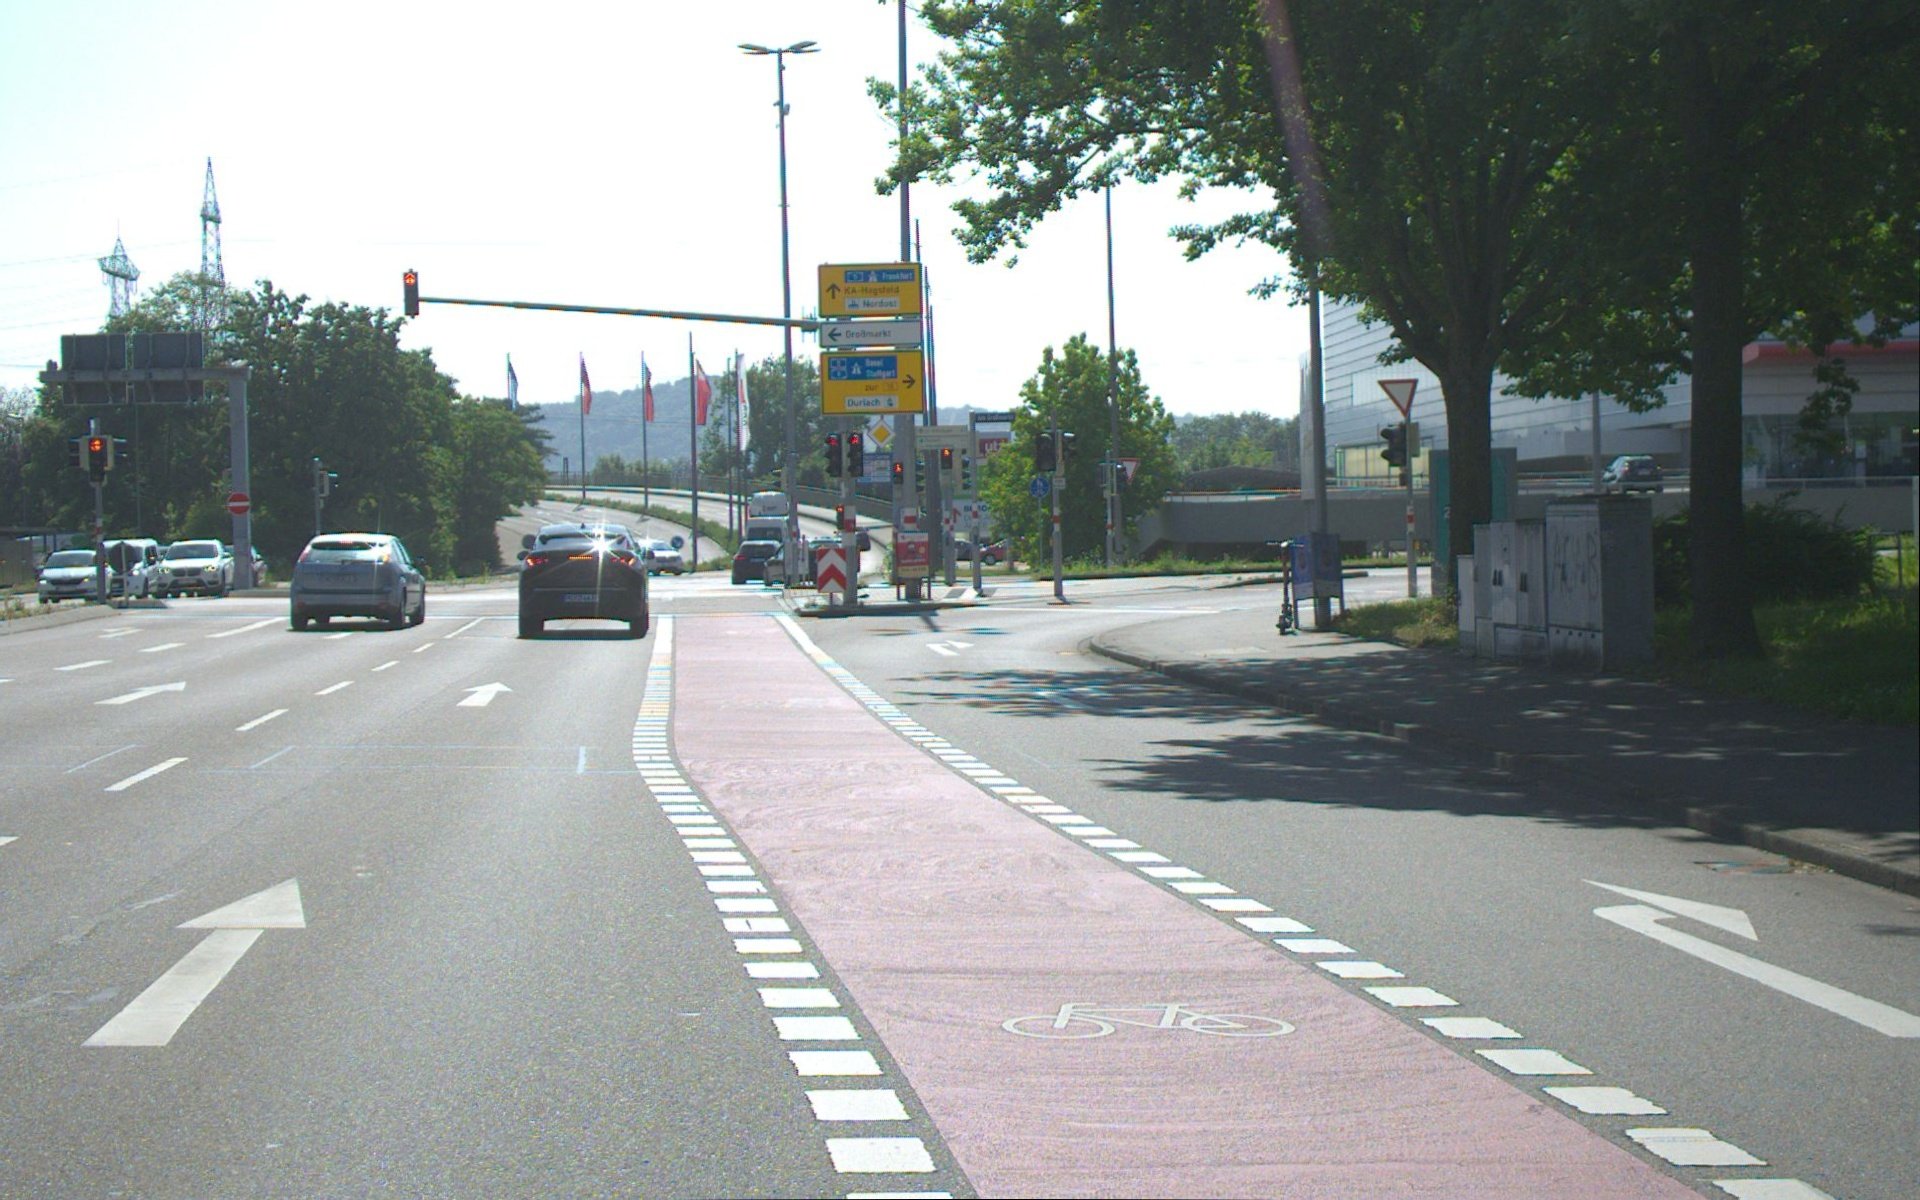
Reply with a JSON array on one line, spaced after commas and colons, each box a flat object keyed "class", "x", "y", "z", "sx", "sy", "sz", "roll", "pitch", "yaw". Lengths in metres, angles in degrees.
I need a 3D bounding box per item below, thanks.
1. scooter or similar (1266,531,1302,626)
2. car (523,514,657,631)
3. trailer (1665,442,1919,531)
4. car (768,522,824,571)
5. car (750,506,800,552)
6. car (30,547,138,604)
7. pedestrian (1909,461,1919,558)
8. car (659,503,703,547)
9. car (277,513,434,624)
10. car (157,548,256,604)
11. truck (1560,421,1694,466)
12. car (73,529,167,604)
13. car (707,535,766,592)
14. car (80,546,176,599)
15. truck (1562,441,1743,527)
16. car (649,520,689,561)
[{"class": "scooter or similar", "x": 4.332, "y": -0.295, "z": 45.875, "sx": 0.351, "sy": 1.229, "sz": 1.311, "roll": -2, "pitch": 1, "yaw": 9}, {"class": "car", "x": -5.505, "y": -0.452, "z": 51.586, "sx": 1.807, "sy": 1.634, "sz": 4.460, "roll": -2, "pitch": 1, "yaw": -4}, {"class": "trailer", "x": 26.891, "y": -3.297, "z": 101.020, "sx": 11.871, "sy": 2.460, "sz": 2.000, "roll": 1, "pitch": 2, "yaw": 1}, {"class": "car", "x": -5.035, "y": -1.661, "z": 105.828, "sx": 1.688, "sy": 1.354, "sz": 4.001, "roll": 1, "pitch": 2, "yaw": -2}, {"class": "car", "x": -8.573, "y": -3.289, "z": 159.463, "sx": 1.993, "sy": 2.006, "sz": 4.000, "roll": 1, "pitch": 2, "yaw": 1}, {"class": "car", "x": -24.100, "y": -0.691, "z": 94.739, "sx": 1.892, "sy": 1.459, "sz": 4.000, "roll": -2, "pitch": 1, "yaw": 0}, {"class": "pedestrian", "x": 17.659, "y": -1.644, "z": 62.092, "sx": 0.627, "sy": 1.764, "sz": 0.805, "roll": -2, "pitch": 1, "yaw": -14}, {"class": "car", "x": -13.372, "y": -3.612, "z": 164.718, "sx": 1.993, "sy": 2.006, "sz": 3.982, "roll": 1, "pitch": 2, "yaw": -4}, {"class": "car", "x": -9.646, "y": -0.530, "z": 55.130, "sx": 1.993, "sy": 1.678, "sz": 4.001, "roll": -1, "pitch": 1, "yaw": -3}, {"class": "car", "x": -21.016, "y": -0.696, "z": 96.051, "sx": 1.815, "sy": 1.459, "sz": 4.000, "roll": -2, "pitch": 1, "yaw": 0}, {"class": "truck", "x": 31.673, "y": -7.451, "z": 163.371, "sx": 5.909, "sy": 2.006, "sz": 2.000, "roll": 1, "pitch": 2, "yaw": -2}, {"class": "car", "x": -15.965, "y": -0.650, "z": 65.433, "sx": 1.215, "sy": 1.326, "sz": 2.800, "roll": 1, "pitch": 2, "yaw": -3}, {"class": "car", "x": -7.490, "y": -1.226, "z": 115.128, "sx": 1.757, "sy": 1.752, "sz": 3.604, "roll": 1, "pitch": 2, "yaw": -7}, {"class": "car", "x": -24.673, "y": -0.830, "z": 102.075, "sx": 1.815, "sy": 1.459, "sz": 4.000, "roll": -2, "pitch": 1, "yaw": 0}, {"class": "truck", "x": 20.352, "y": -3.424, "z": 101.183, "sx": 4.881, "sy": 2.415, "sz": 2.000, "roll": 1, "pitch": 2, "yaw": 1}, {"class": "car", "x": -13.236, "y": -2.727, "z": 156.323, "sx": 1.760, "sy": 1.787, "sz": 3.348, "roll": -1, "pitch": 1, "yaw": -6}]
